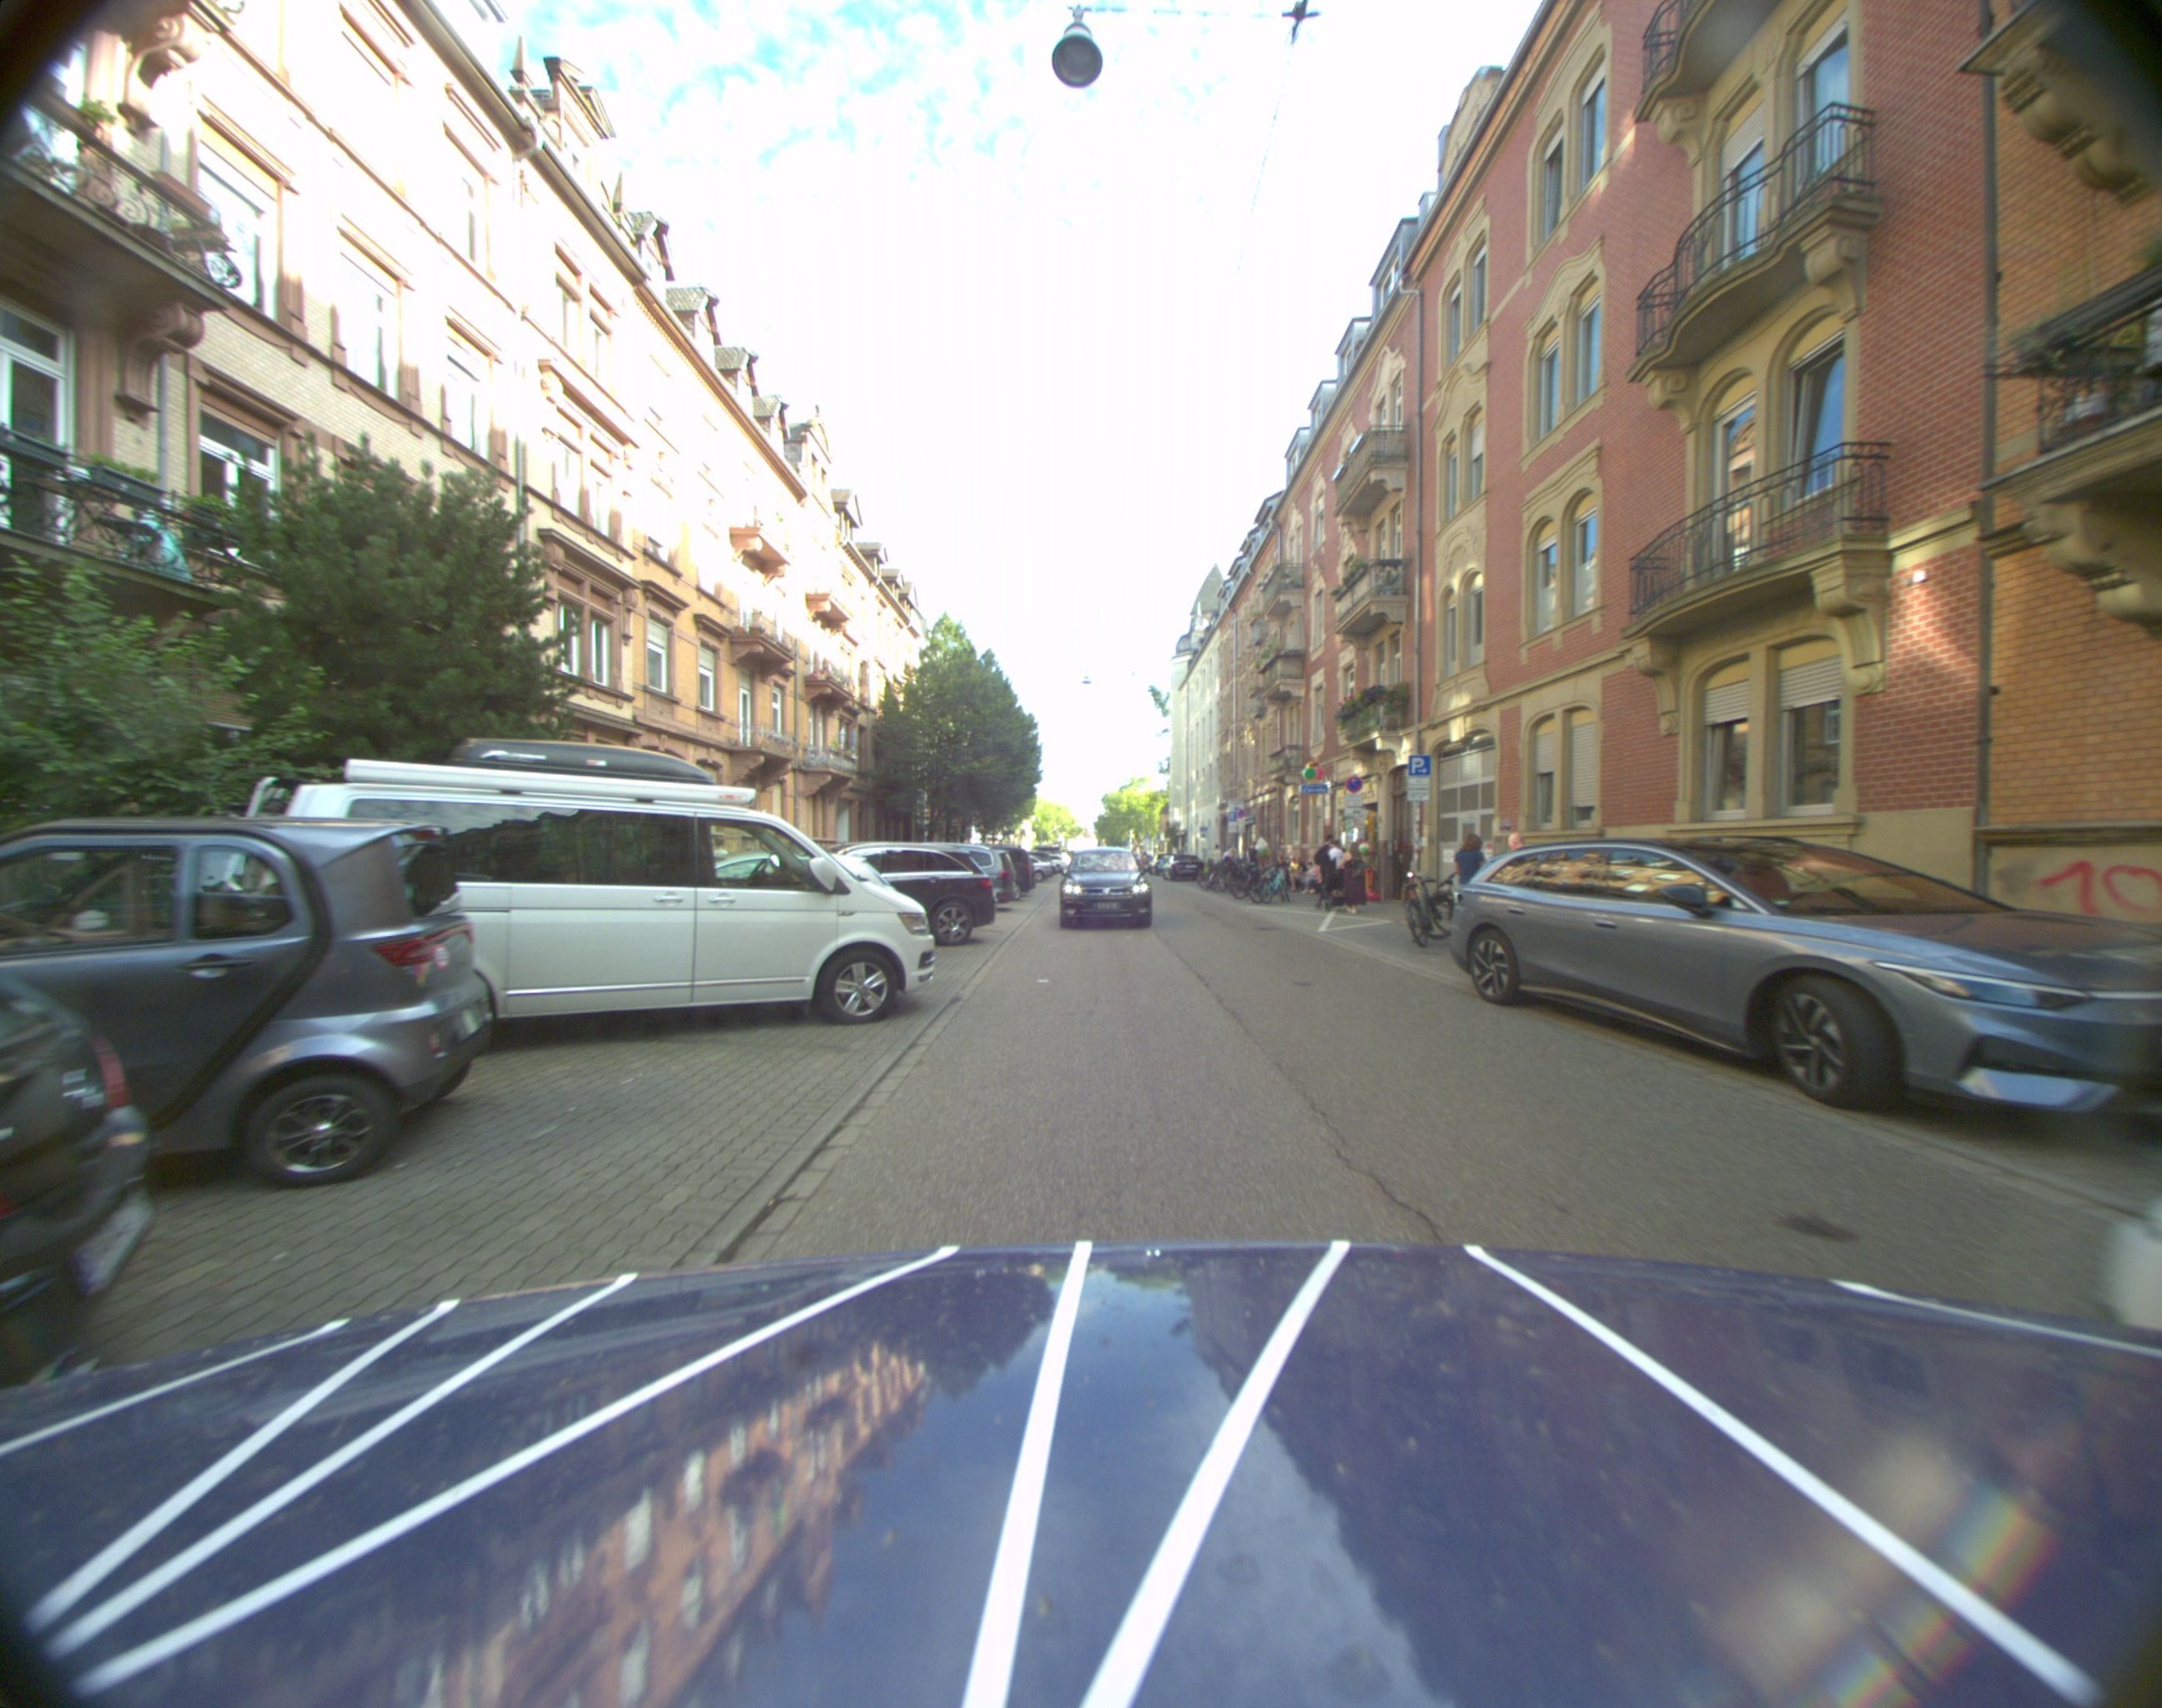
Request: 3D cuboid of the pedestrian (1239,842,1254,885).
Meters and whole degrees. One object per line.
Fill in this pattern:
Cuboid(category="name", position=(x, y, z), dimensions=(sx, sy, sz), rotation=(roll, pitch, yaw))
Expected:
Cuboid(category="pedestrian", position=(6.921, 0.396, 31.782), dimensions=(0.605, 1.741, 0.726), rotation=(-1, 1, 11))

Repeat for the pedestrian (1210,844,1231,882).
Cuboid(category="pedestrian", position=(6.735, 0.452, 36.701), dimensions=(0.761, 1.808, 0.667), rotation=(-1, 1, 31))

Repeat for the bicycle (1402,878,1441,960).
Cuboid(category="bicycle", position=(5.199, 0.941, 11.580), dimensions=(0.482, 1.053, 1.907), rotation=(-1, 1, 25))

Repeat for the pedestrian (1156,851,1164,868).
Cuboid(category="pedestrian", position=(6.631, 0.451, 63.927), dimensions=(0.637, 1.364, 0.684), rotation=(-1, 1, 4))

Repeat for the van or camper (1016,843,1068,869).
Cuboid(category="van or camper", position=(-3.332, 0.142, 65.422), dimensions=(4.006, 2.166, 1.995), rotation=(-1, 1, -30))

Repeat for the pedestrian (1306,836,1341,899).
Cuboid(category="pedestrian", position=(7.532, 0.409, 23.558), dimensions=(0.764, 1.916, 0.664), rotation=(-2, 1, -30))

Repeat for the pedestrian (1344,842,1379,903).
Cuboid(category="pedestrian", position=(7.887, 0.504, 21.385), dimensions=(0.665, 1.686, 0.763), rotation=(-1, 1, 1))

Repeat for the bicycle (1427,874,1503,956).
Cuboid(category="bicycle", position=(5.962, 0.904, 11.890), dimensions=(0.494, 1.089, 1.905), rotation=(-2, 1, 10))

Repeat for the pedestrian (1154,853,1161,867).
Cuboid(category="pedestrian", position=(6.574, 0.503, 65.301), dimensions=(0.597, 1.236, 0.694), rotation=(-1, 1, 7))

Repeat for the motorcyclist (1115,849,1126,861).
Cuboid(category="motorcyclist", position=(4.174, 0.079, 80.876), dimensions=(1.016, 1.238, 0.802), rotation=(-1, 1, -5))

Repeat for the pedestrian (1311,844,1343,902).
Cuboid(category="pedestrian", position=(7.288, 0.561, 22.516), dimensions=(0.566, 1.686, 0.645), rotation=(-2, 1, -30))

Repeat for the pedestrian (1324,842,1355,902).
Cuboid(category="pedestrian", position=(7.494, 0.503, 22.009), dimensions=(0.667, 1.686, 0.584), rotation=(-2, 1, -42))

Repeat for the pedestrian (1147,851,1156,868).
Cuboid(category="pedestrian", position=(5.947, 0.451, 64.039), dimensions=(0.689, 1.365, 0.739), rotation=(-1, 1, 4))

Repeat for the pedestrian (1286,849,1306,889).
Cuboid(category="pedestrian", position=(7.880, 0.550, 27.866), dimensions=(0.605, 1.461, 0.726), rotation=(-1, 1, 11))

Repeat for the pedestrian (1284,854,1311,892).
Cuboid(category="pedestrian", position=(7.629, 0.649, 26.800), dimensions=(0.725, 1.306, 0.606), rotation=(-1, 1, -3))

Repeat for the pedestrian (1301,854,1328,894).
Cuboid(category="pedestrian", position=(7.865, 0.676, 25.600), dimensions=(0.719, 1.306, 0.439), rotation=(-1, 1, -3))

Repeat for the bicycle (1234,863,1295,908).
Cuboid(category="bicycle", position=(5.227, 0.871, 21.543), dimensions=(0.806, 1.152, 2.274), rotation=(-1, 1, 38))

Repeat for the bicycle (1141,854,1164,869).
Cuboid(category="bicycle", position=(5.900, 0.615, 62.915), dimensions=(1.872, 1.168, 0.688), rotation=(-1, 1, 2))

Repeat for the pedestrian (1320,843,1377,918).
Cuboid(category="pedestrian", position=(6.063, 0.579, 17.258), dimensions=(0.914, 1.651, 0.827), rotation=(-1, 1, -8))

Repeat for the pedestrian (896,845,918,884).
Cuboid(category="pedestrian", position=(-7.496, 0.440, 32.759), dimensions=(0.733, 1.625, 0.833), rotation=(1, 2, -2))

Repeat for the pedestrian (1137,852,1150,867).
Cuboid(category="pedestrian", position=(5.535, 0.479, 67.225), dimensions=(1.088, 1.365, 0.895), rotation=(-1, 1, 9))

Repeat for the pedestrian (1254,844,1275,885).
Cuboid(category="pedestrian", position=(7.860, 0.451, 32.583), dimensions=(0.688, 1.749, 0.667), rotation=(-1, 1, 31))

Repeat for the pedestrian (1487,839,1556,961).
Cuboid(category="pedestrian", position=(6.182, 0.621, 10.673), dimensions=(0.682, 1.651, 0.550), rotation=(-2, 1, -29))

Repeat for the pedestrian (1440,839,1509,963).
Cuboid(category="pedestrian", position=(5.591, 0.640, 10.810), dimensions=(0.566, 1.699, 0.666), rotation=(-2, 1, -34))

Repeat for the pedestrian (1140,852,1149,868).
Cuboid(category="pedestrian", position=(5.404, 0.481, 64.623), dimensions=(0.739, 1.341, 0.644), rotation=(-1, 1, 3))

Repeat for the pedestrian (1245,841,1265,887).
Cuboid(category="pedestrian", position=(7.148, 0.418, 31.216), dimensions=(0.646, 1.881, 0.602), rotation=(-1, 1, 31))

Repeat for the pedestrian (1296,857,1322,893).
Cuboid(category="pedestrian", position=(7.838, 0.719, 26.122), dimensions=(0.710, 1.190, 0.586), rotation=(-1, 1, -3))

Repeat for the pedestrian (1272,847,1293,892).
Cuboid(category="pedestrian", position=(7.269, 0.552, 27.427), dimensions=(0.554, 1.607, 0.584), rotation=(-1, 1, 1))

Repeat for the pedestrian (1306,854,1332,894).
Cuboid(category="pedestrian", position=(7.890, 0.660, 25.189), dimensions=(0.703, 1.306, 0.373), rotation=(-1, 1, -3))

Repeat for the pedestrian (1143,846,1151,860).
Cuboid(category="pedestrian", position=(8.149, -0.117, 94.181), dimensions=(0.845, 1.699, 0.879), rotation=(-1, 1, 1))

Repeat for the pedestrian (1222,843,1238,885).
Cuboid(category="pedestrian", position=(6.335, 0.411, 32.196), dimensions=(0.605, 1.741, 0.946), rotation=(-1, 1, 13))
